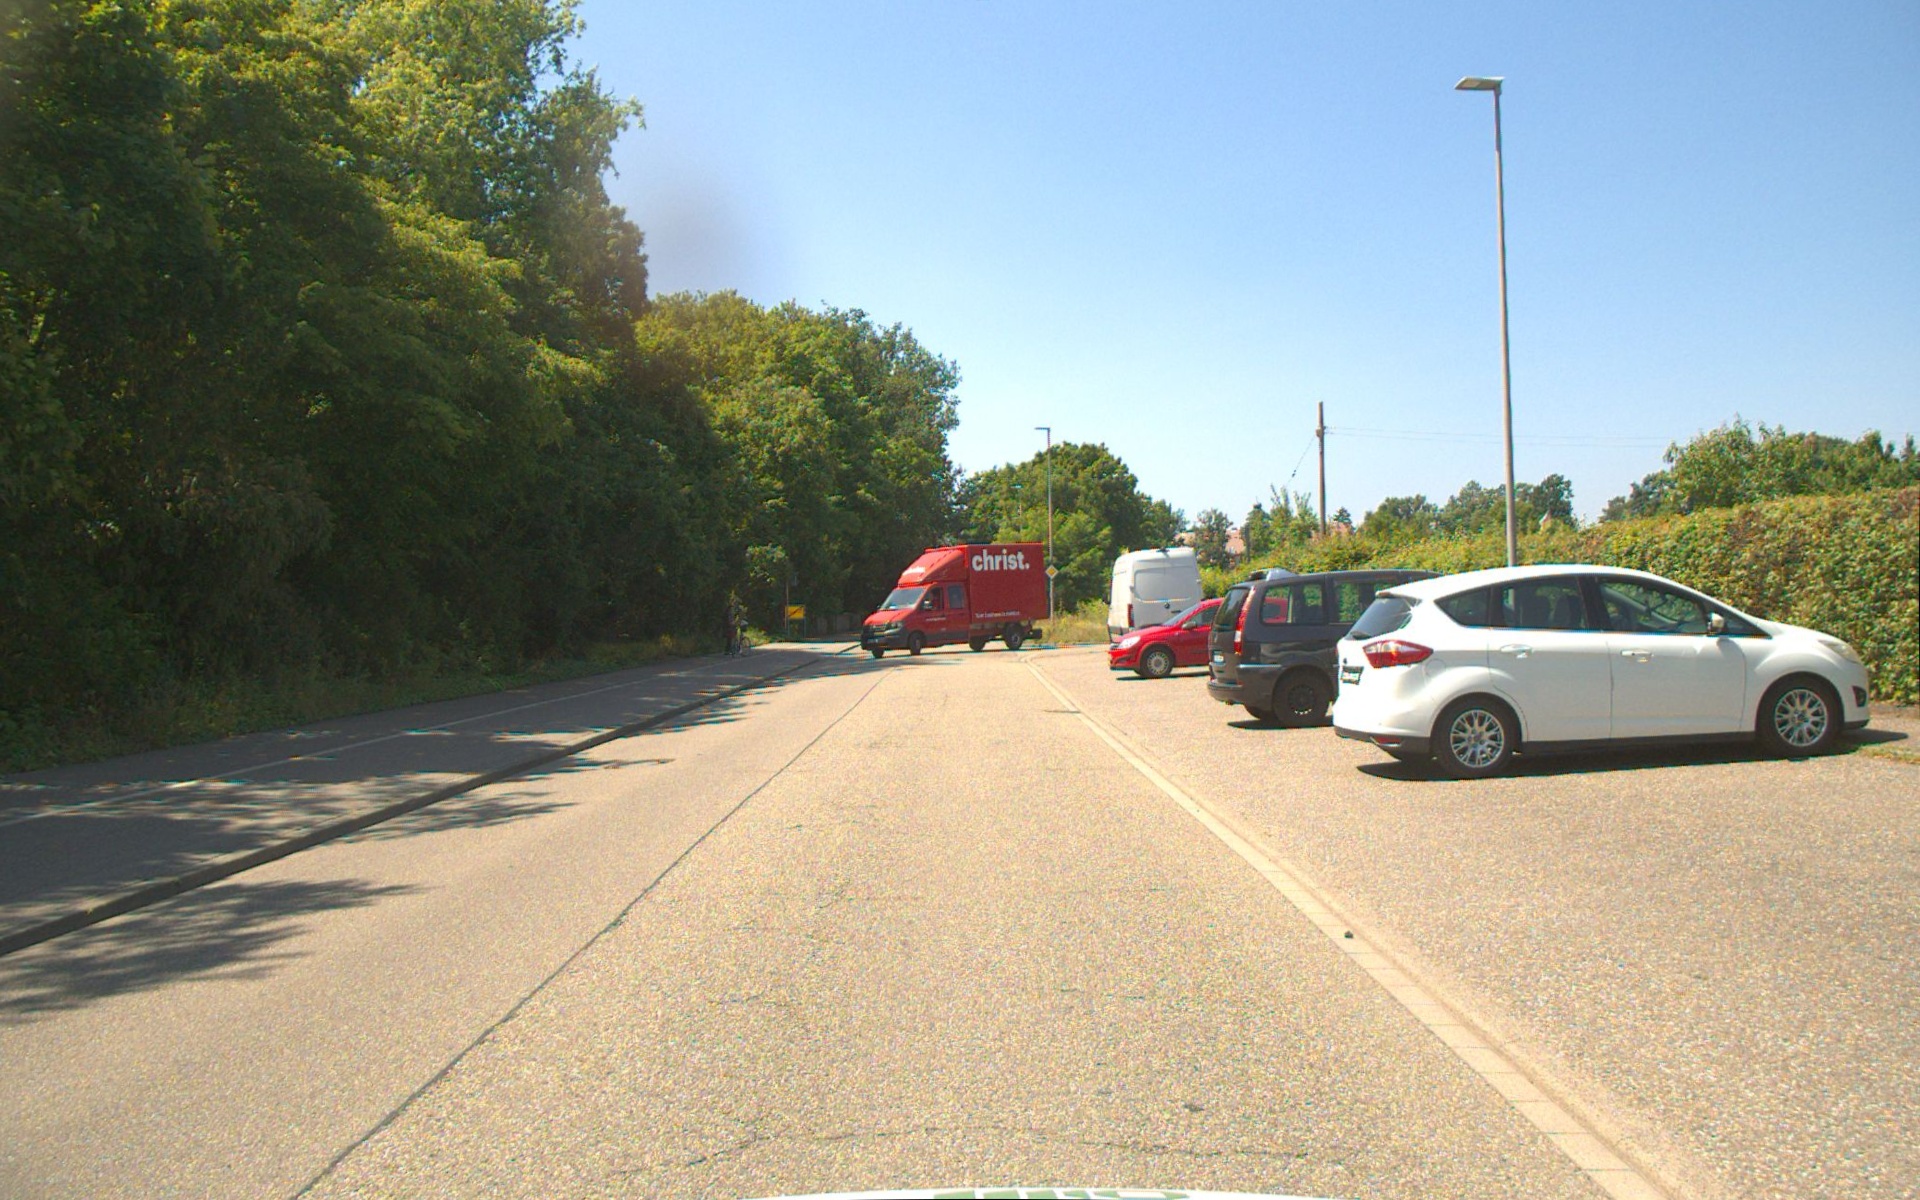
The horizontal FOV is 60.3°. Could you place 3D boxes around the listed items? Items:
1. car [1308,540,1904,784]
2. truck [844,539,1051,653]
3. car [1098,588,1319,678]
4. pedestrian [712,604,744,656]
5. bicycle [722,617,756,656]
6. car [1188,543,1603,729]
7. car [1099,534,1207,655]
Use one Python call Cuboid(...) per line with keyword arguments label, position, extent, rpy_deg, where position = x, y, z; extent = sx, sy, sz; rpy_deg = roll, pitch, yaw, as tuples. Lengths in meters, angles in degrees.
Cuboid(label="car", position=(5.230, 0.474, 13.754), extent=(4.191, 1.605, 1.764), rpy_deg=(-4, 0, -3))
Cuboid(label="truck", position=(-0.308, -0.195, 53.842), extent=(7.102, 3.500, 2.294), rpy_deg=(-1, 2, -43))
Cuboid(label="car", position=(4.888, 0.639, 32.867), extent=(3.974, 1.459, 1.834), rpy_deg=(-4, 0, -3))
Cuboid(label="pedestrian", position=(-7.824, 1.014, 55.821), extent=(0.791, 1.748, 0.777), rpy_deg=(-1, -1, 15))
Cuboid(label="bicycle", position=(-7.430, 1.222, 55.764), extent=(0.510, 1.258, 1.962), rpy_deg=(0, -1, 12))
Cuboid(label="car", position=(5.167, 0.417, 19.998), extent=(4.366, 1.836, 1.950), rpy_deg=(-4, -1, -5))
Cuboid(label="car", position=(4.951, -0.149, 43.352), extent=(1.914, 2.781, 7.167), rpy_deg=(-4, 0, 1))
